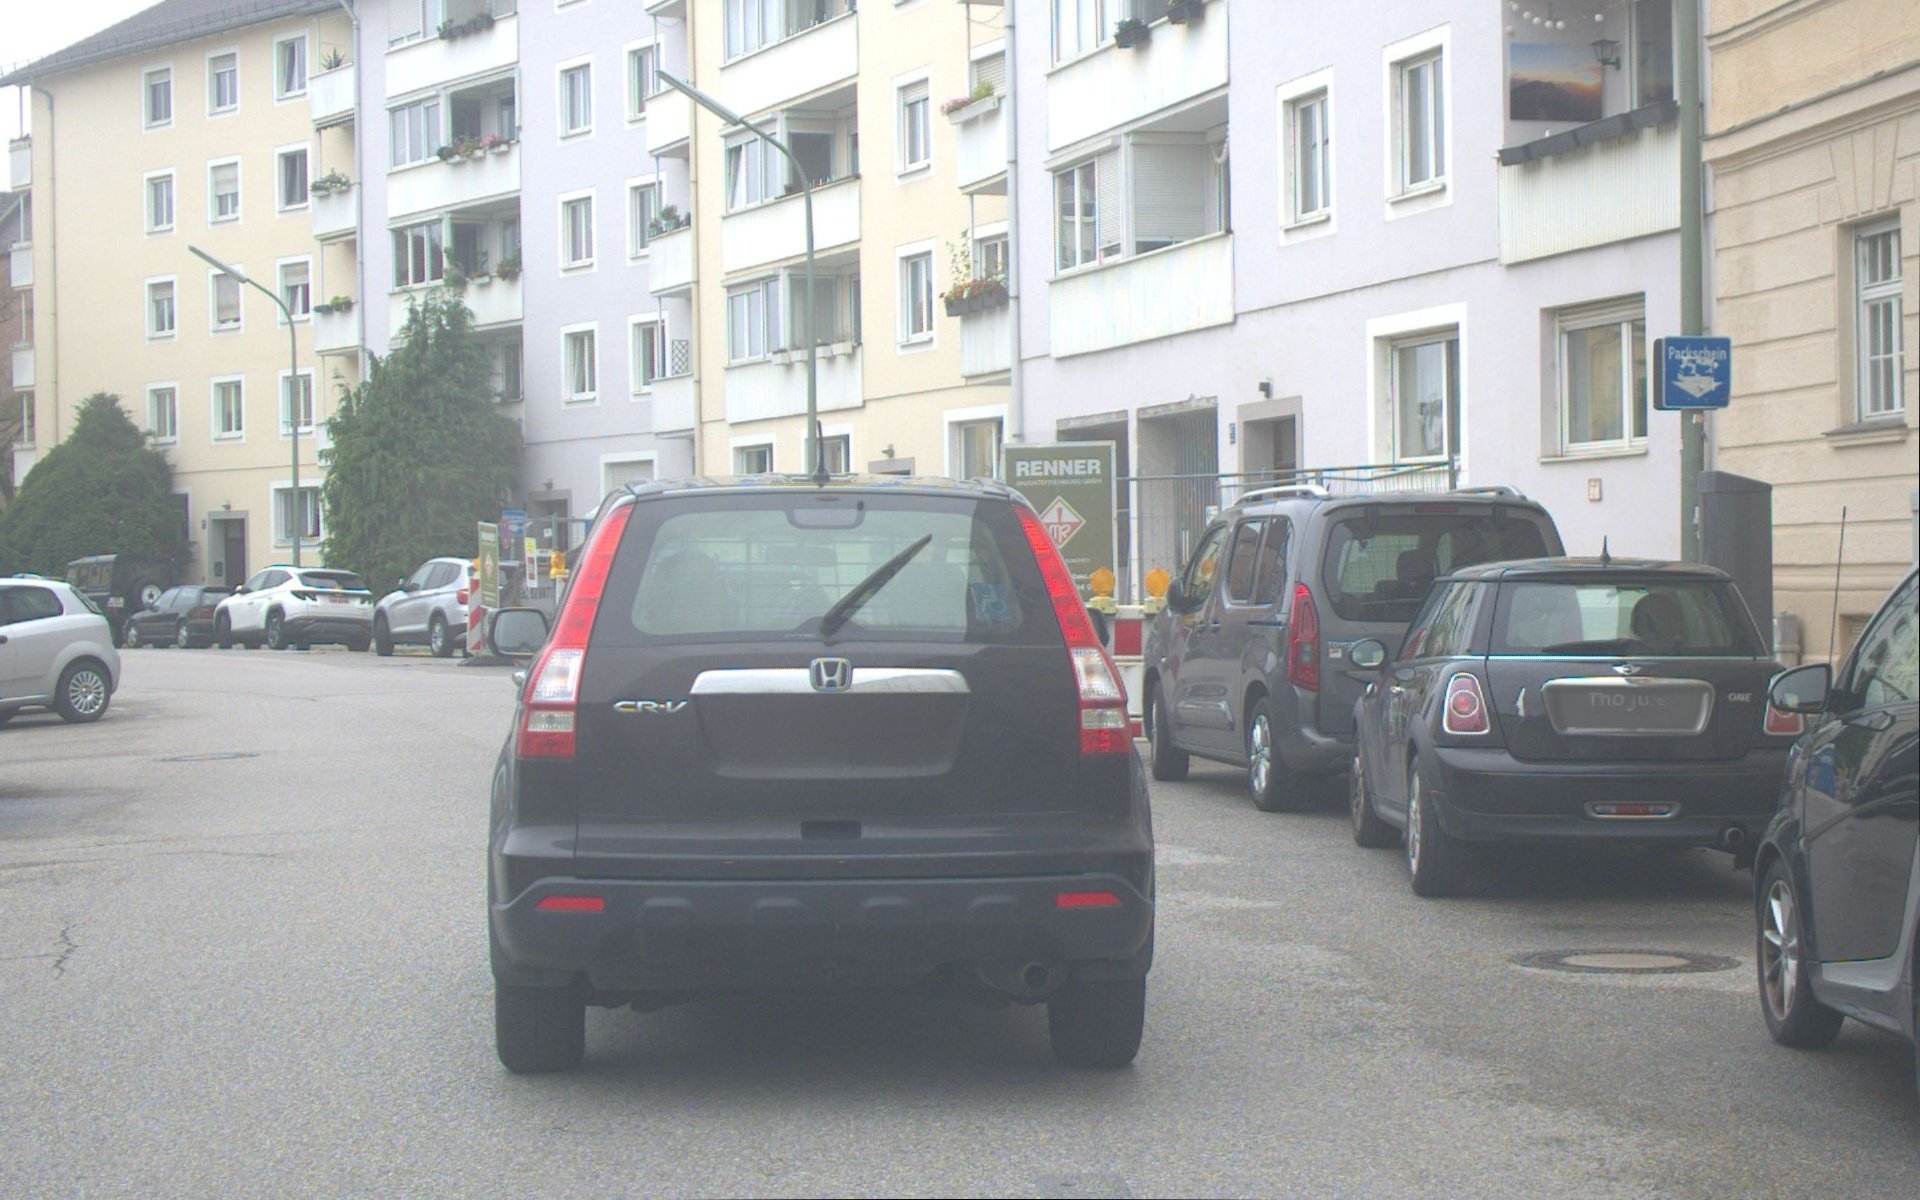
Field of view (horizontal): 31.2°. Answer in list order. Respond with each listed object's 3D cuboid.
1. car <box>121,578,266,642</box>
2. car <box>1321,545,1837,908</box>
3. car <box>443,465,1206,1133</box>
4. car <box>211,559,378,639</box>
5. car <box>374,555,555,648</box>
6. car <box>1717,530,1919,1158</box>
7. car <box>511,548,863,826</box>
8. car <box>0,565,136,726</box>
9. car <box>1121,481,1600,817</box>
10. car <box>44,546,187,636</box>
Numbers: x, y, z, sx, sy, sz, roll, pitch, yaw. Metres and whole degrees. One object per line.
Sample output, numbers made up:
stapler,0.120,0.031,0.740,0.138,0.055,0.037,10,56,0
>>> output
car,-15.669,0.193,70.188,1.697,1.232,3.601,0,1,-34
car,2.693,0.487,15.764,1.708,1.442,3.830,1,1,1
car,-0.478,0.469,10.584,1.890,1.642,3.992,-1,1,-4
car,-12.828,-0.042,66.115,1.724,1.478,4.000,0,1,-34
car,-8.281,-0.004,57.225,1.724,1.478,4.001,0,1,-28
car,3.114,0.589,9.179,1.535,1.518,3.110,1,1,1
car,-1.732,0.444,20.629,1.678,1.476,4.087,-1,1,-10
car,-10.203,0.551,33.203,1.683,1.476,4.078,-5,0,39
car,2.270,0.242,20.671,1.777,1.800,4.277,1,1,-9
car,-18.202,-0.217,73.991,1.724,1.871,4.000,0,1,-34
